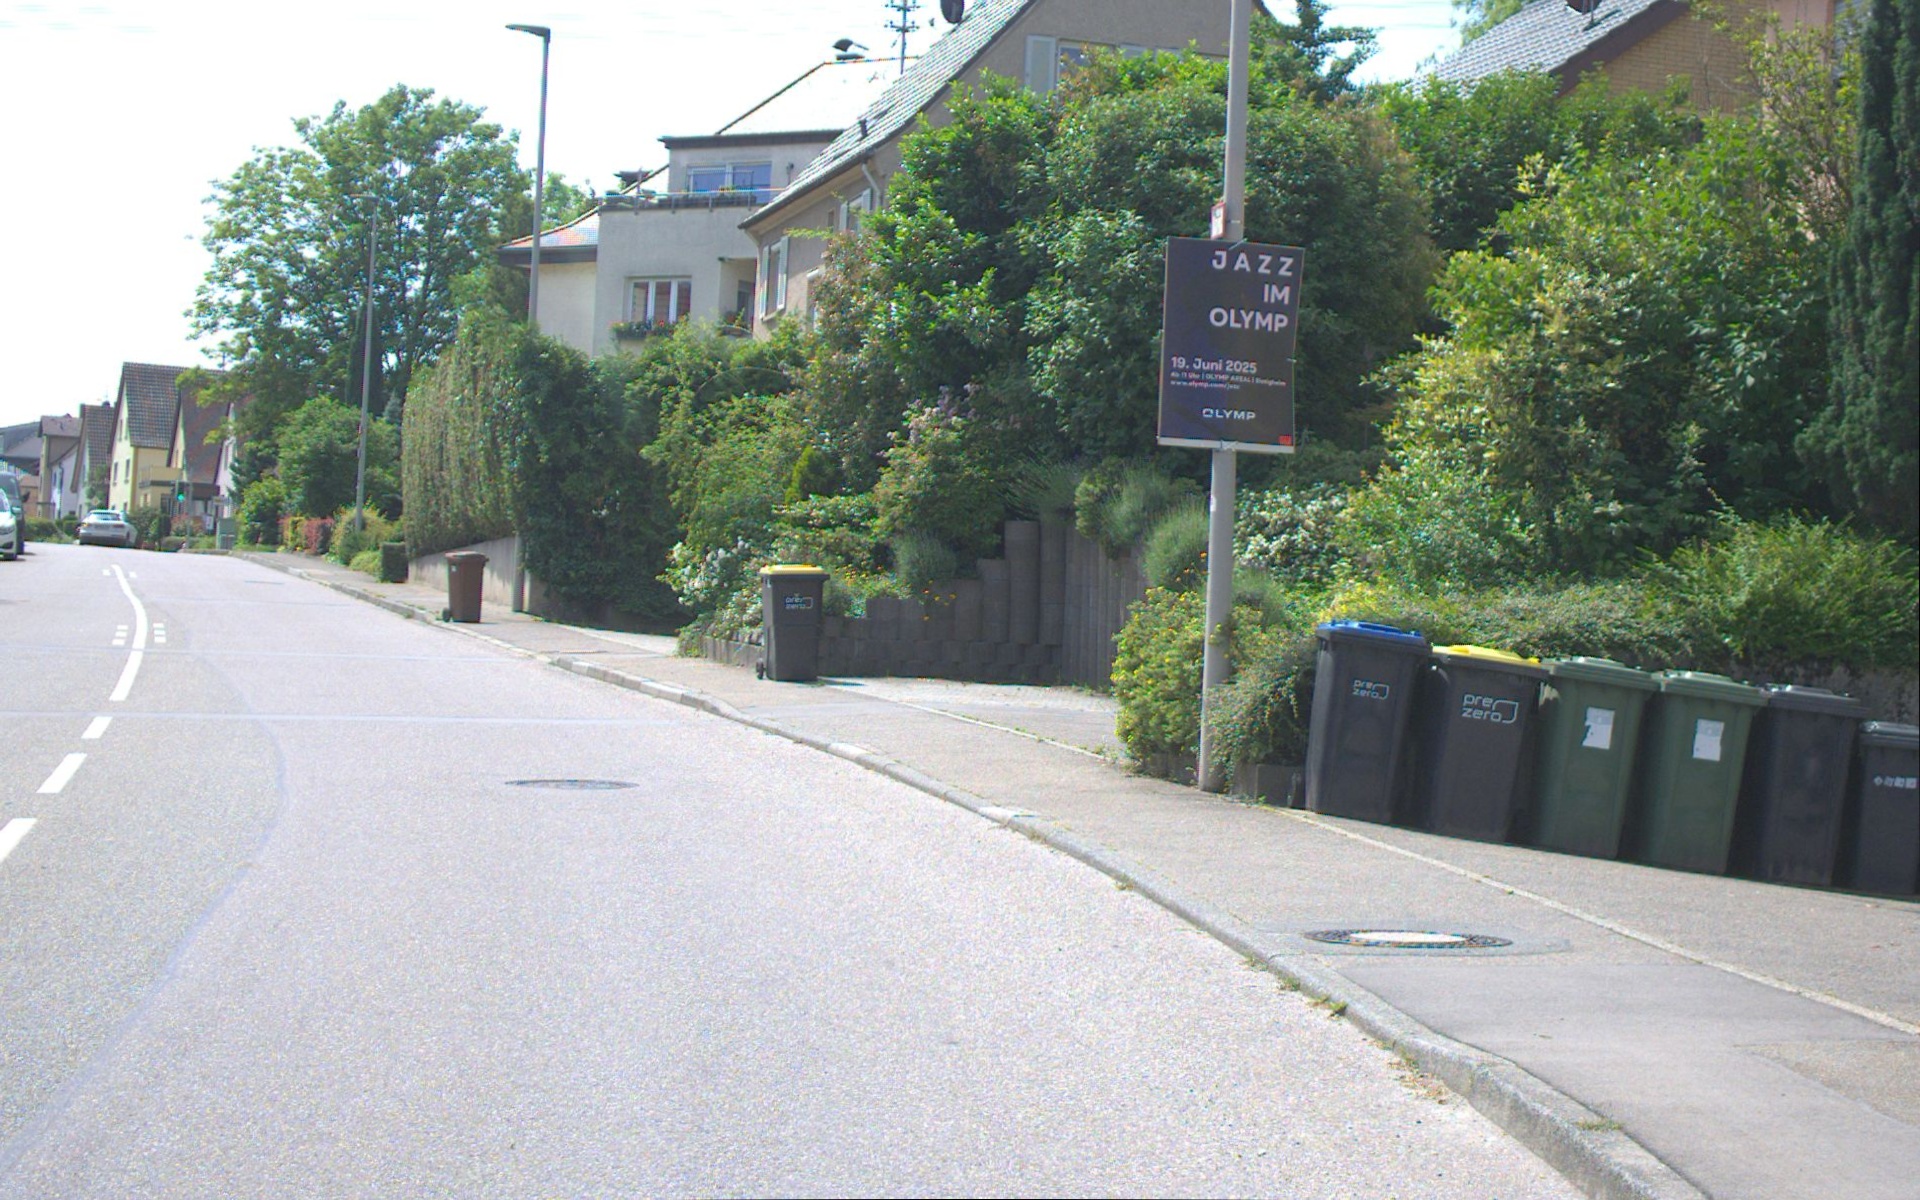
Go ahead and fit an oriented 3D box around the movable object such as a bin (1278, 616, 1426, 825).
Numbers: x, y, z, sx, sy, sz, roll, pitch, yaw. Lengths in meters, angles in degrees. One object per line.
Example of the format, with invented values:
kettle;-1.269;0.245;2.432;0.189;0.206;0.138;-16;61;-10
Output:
movable object such as a bin;2.163;0.658;19.040;0.549;1.065;0.659;8;0;-6

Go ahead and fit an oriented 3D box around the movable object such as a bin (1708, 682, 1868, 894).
movable object such as a bin;4.549;1.027;18.908;0.549;1.065;0.673;6;0;-6

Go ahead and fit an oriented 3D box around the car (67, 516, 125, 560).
car;-33.546;-2.403;133.446;1.993;1.598;4.001;2;1;-16

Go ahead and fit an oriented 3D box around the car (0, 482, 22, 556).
car;-21.574;-1.839;75.232;1.810;1.544;4.245;3;1;-17

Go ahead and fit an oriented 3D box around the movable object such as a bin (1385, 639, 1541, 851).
movable object such as a bin;2.768;0.789;18.978;0.549;1.065;0.768;7;0;-6

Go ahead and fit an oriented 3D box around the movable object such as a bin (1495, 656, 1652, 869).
movable object such as a bin;3.370;0.885;18.932;0.549;1.065;0.673;8;0;-6

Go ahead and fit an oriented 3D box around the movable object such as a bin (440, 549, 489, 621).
movable object such as a bin;-6.936;-0.214;48.100;0.588;0.974;0.786;0;1;-15

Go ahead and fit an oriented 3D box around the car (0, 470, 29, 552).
car;-23.440;-2.176;82.449;1.896;1.913;4.872;1;2;-17

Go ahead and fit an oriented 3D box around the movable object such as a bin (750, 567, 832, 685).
movable object such as a bin;-1.581;0.236;32.136;0.588;1.055;0.920;2;1;-12

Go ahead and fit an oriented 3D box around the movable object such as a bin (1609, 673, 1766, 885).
movable object such as a bin;3.984;0.970;18.855;0.549;1.065;0.673;6;0;-6

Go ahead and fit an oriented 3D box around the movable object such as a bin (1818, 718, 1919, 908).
movable object such as a bin;5.083;1.165;18.876;0.459;0.969;0.550;6;0;-6
